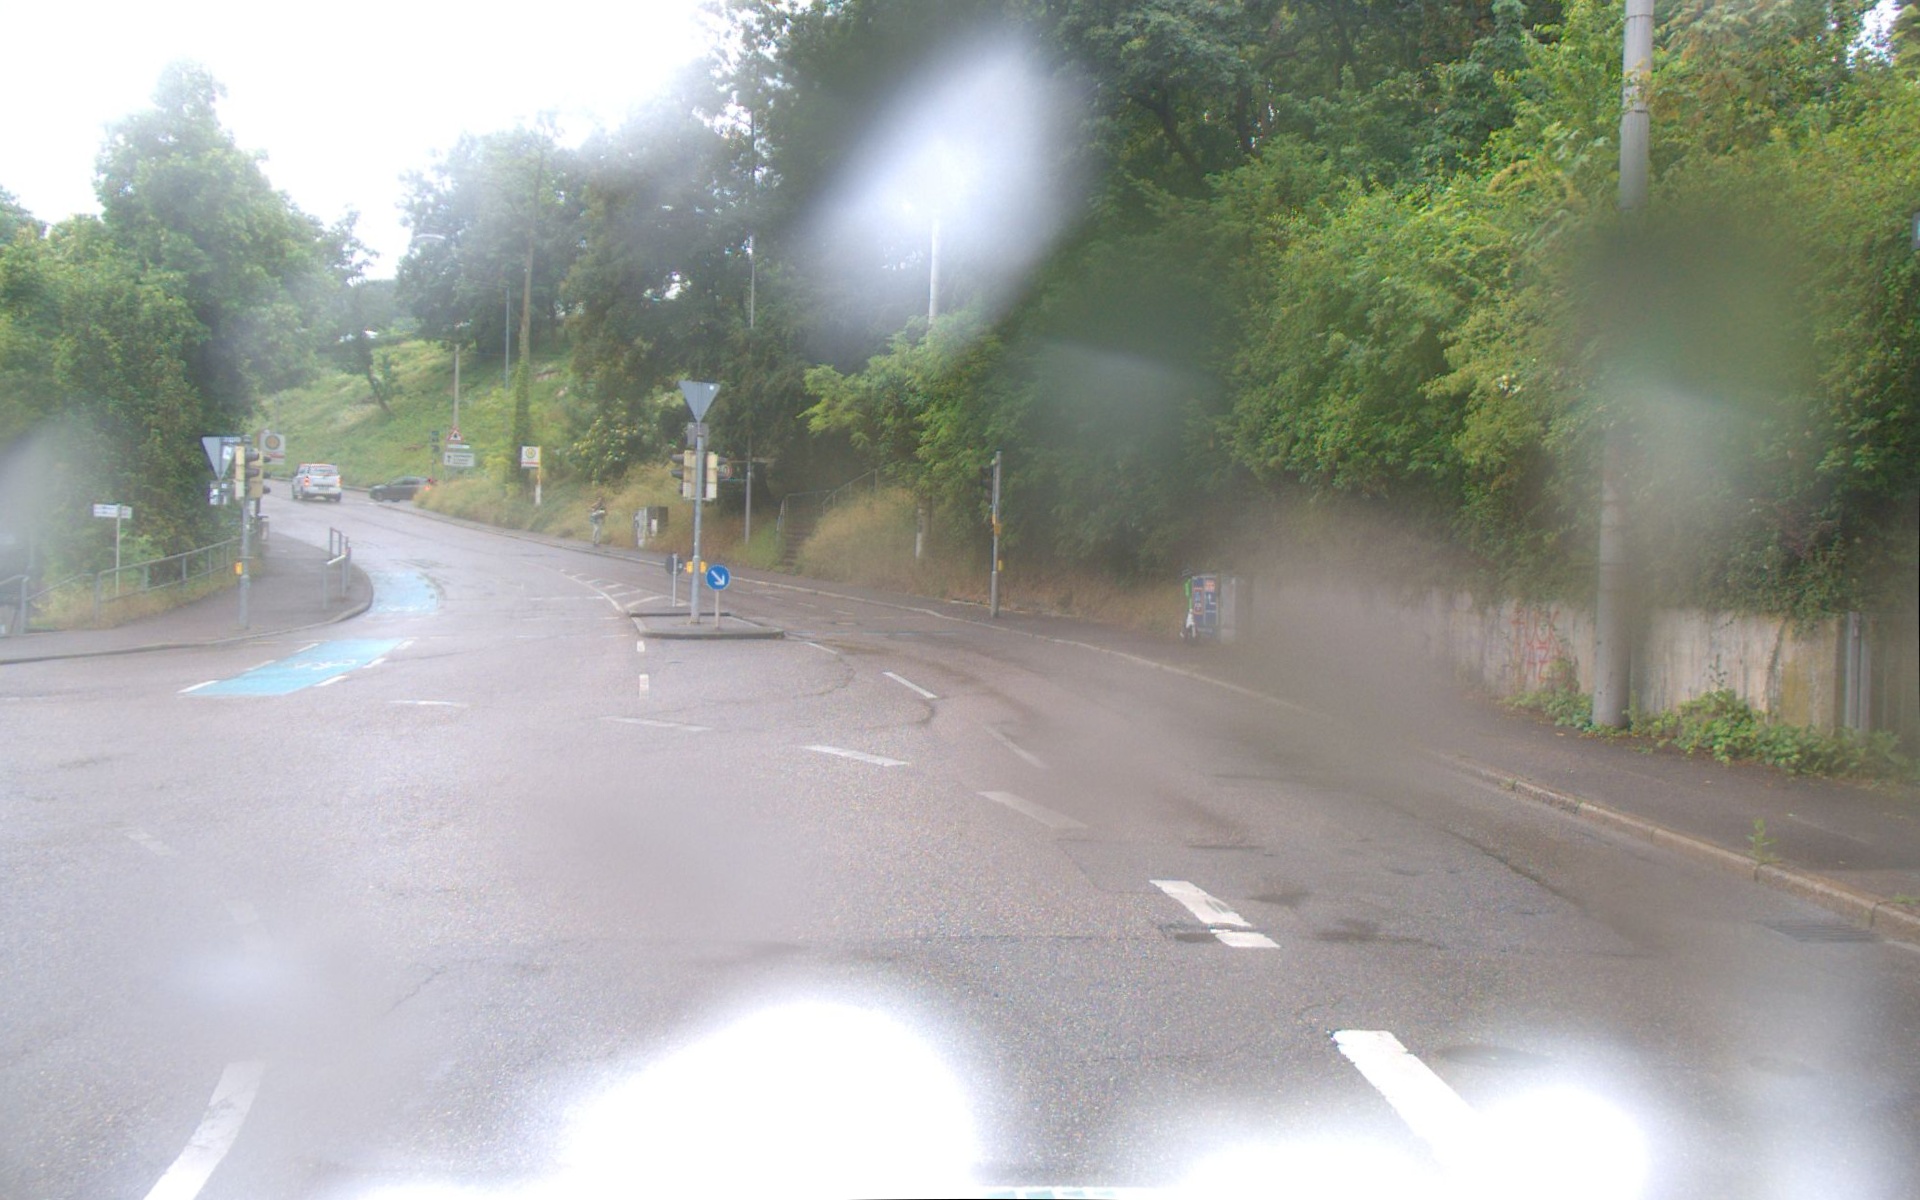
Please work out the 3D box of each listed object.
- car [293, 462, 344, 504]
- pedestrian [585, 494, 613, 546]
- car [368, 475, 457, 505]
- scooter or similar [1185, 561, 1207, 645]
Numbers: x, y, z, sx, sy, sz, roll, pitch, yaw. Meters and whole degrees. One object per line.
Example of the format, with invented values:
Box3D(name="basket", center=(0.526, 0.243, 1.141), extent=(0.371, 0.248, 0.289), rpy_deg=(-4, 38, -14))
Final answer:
Box3D(name="car", center=(-35.067, -6.358, 90.296), extent=(2.042, 2.041, 4.770), rpy_deg=(0, 1, -28))
Box3D(name="pedestrian", center=(-12.886, -2.839, 59.021), extent=(0.867, 1.767, 0.861), rpy_deg=(1, -1, -18))
Box3D(name="car", center=(-30.810, -6.191, 93.123), extent=(4.297, 1.538, 1.965), rpy_deg=(3, 3, 13))
Box3D(name="scooter or similar", center=(3.779, 0.035, 26.512), extent=(0.315, 1.302, 0.752), rpy_deg=(0, 3, 7))
